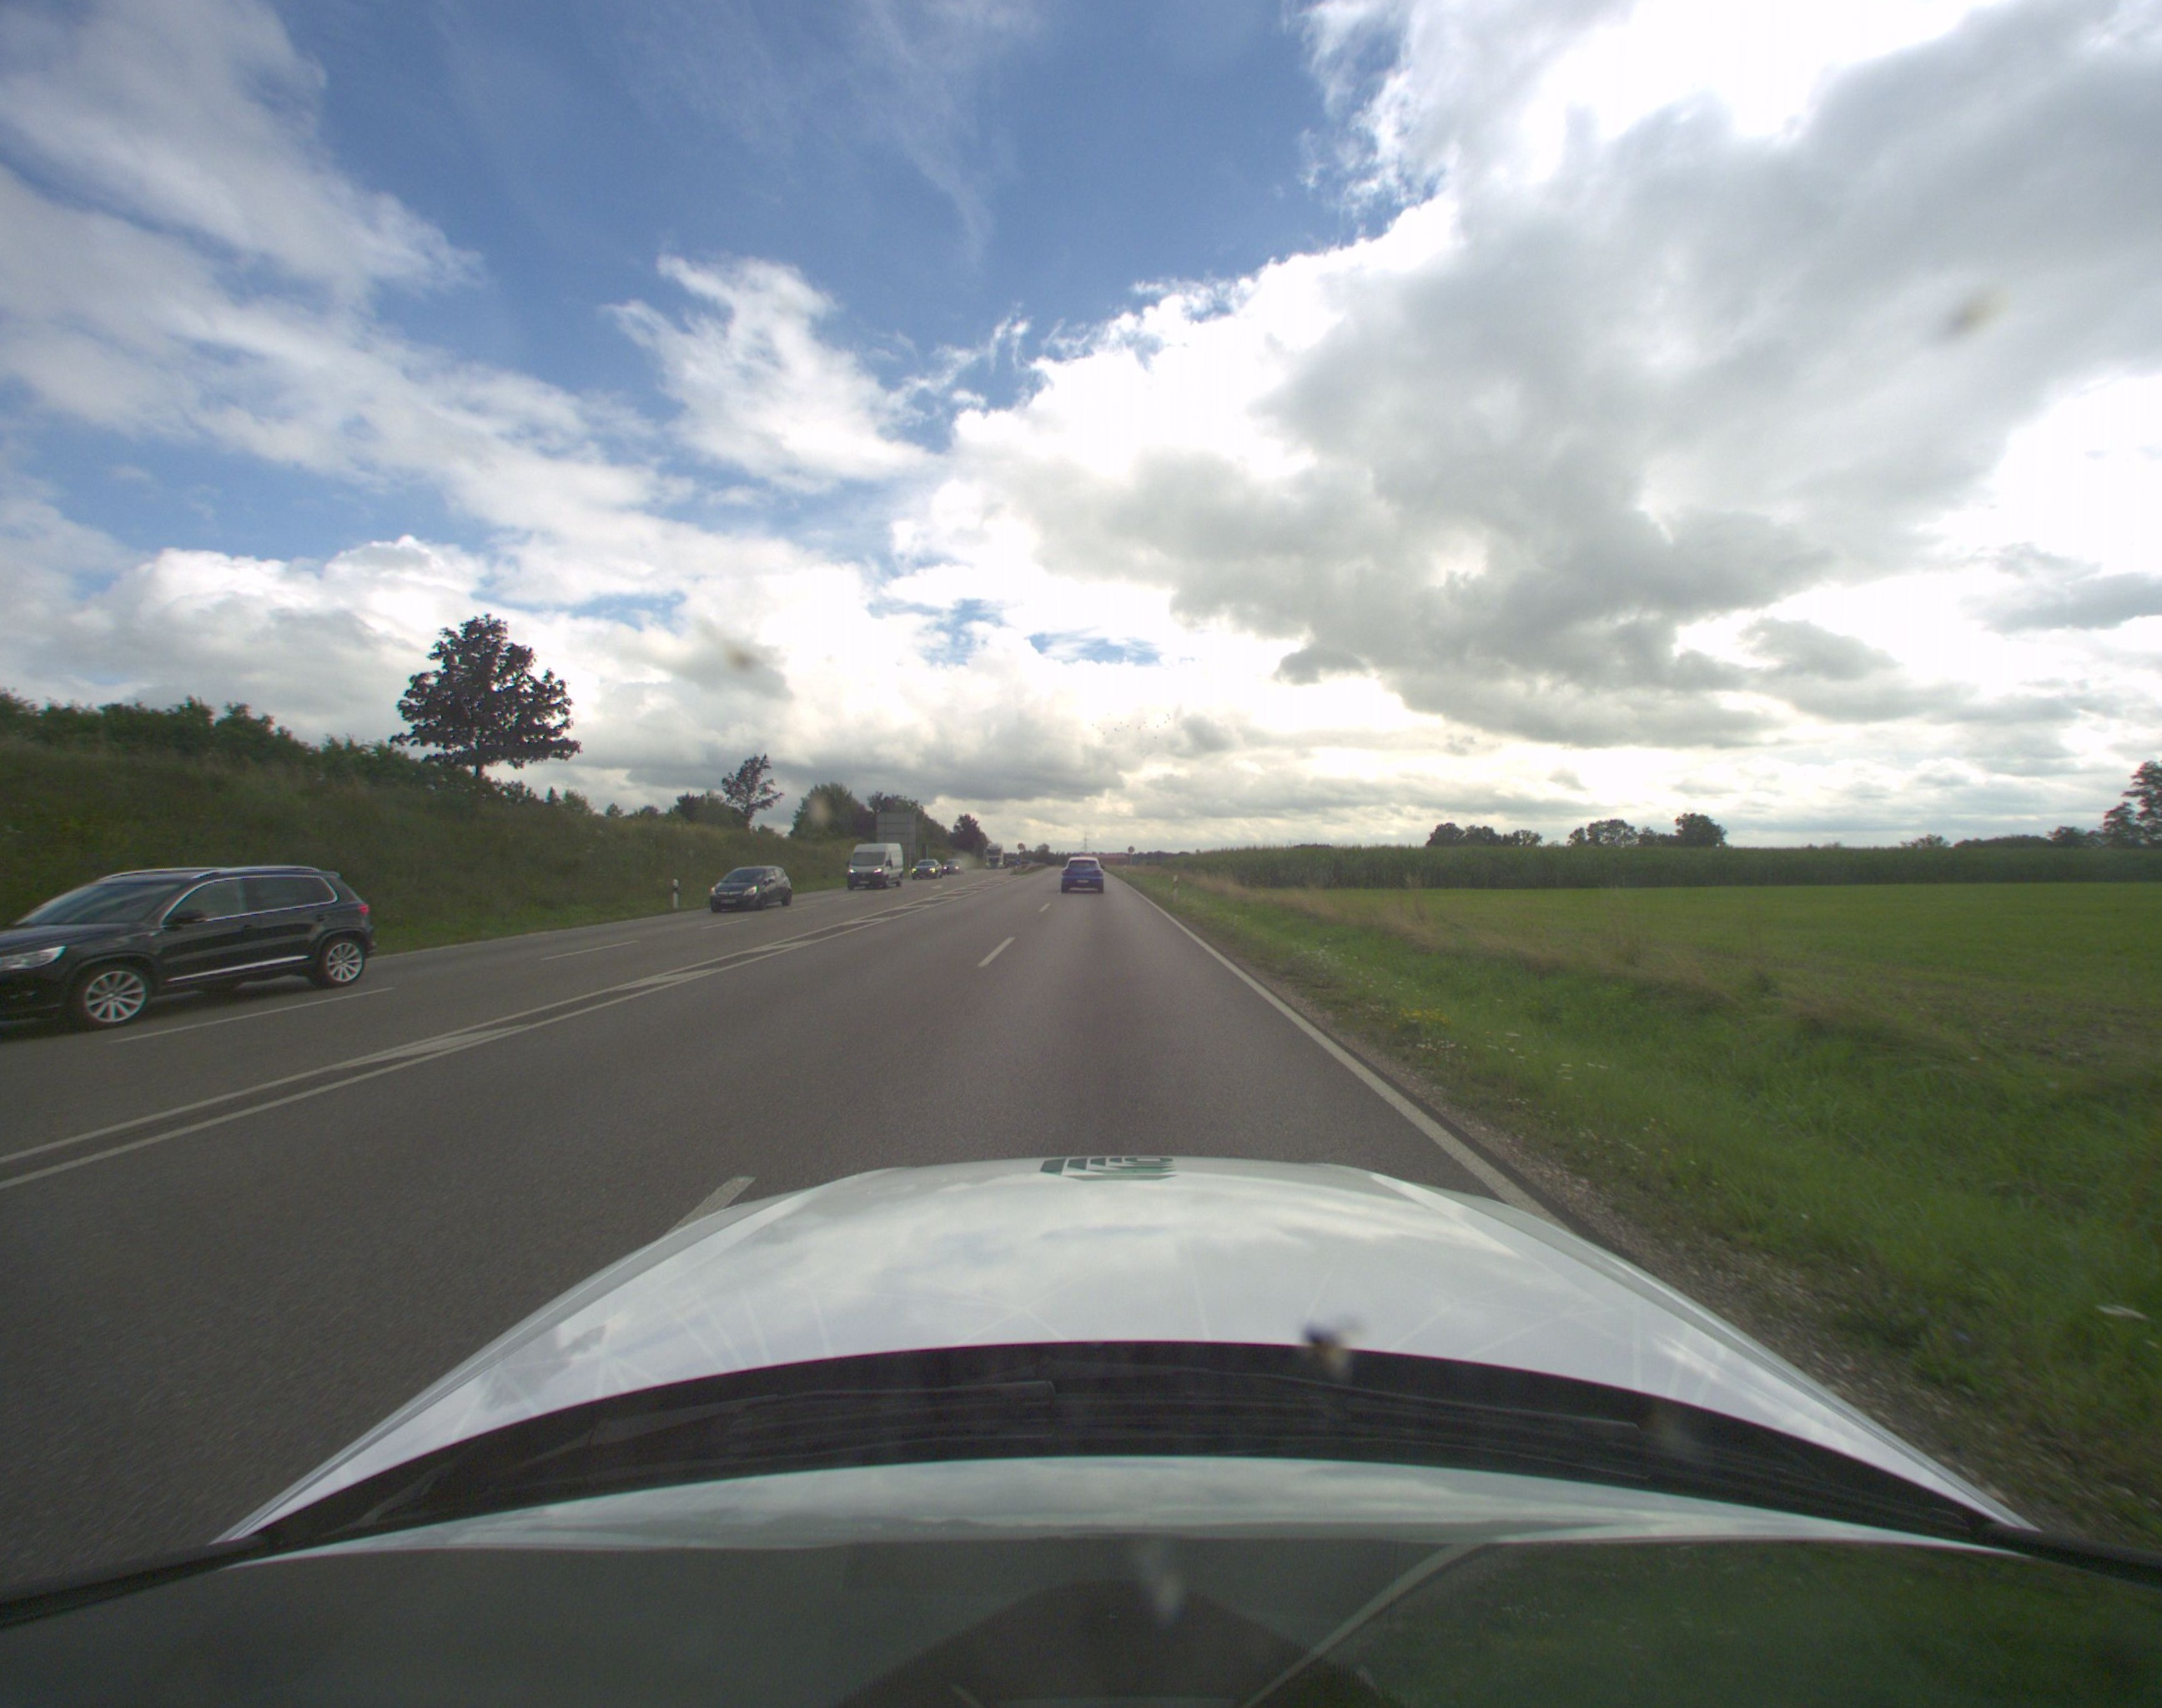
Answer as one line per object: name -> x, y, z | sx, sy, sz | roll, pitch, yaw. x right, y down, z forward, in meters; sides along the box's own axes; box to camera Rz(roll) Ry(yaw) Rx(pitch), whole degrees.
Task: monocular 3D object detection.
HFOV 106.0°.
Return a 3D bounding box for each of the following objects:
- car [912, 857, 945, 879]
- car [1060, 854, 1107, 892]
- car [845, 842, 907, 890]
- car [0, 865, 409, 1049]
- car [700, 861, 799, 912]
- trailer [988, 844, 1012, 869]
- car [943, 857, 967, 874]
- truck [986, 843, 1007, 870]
car -> -11.639, 1.058, 62.501 | 1.727, 1.530, 4.546 | -1, 0, -1
car -> 0.060, 0.855, 37.998 | 2.027, 1.660, 4.541 | -1, 0, -1
car -> -11.177, 0.601, 44.840 | 2.027, 2.439, 5.633 | -2, 0, -1
car -> -10.928, 1.018, 9.802 | 1.787, 1.634, 4.517 | -2, 0, 1
car -> -11.294, 1.044, 28.061 | 1.727, 1.530, 4.192 | -1, 0, -1
trailer -> -13.012, 0.334, 131.904 | 2.767, 3.947, 12.978 | 0, 0, -1
car -> -11.961, 1.065, 77.493 | 1.727, 1.530, 4.192 | -1, 0, -1
truck -> -12.883, 0.373, 124.694 | 2.794, 3.997, 5.284 | 0, 0, -1
